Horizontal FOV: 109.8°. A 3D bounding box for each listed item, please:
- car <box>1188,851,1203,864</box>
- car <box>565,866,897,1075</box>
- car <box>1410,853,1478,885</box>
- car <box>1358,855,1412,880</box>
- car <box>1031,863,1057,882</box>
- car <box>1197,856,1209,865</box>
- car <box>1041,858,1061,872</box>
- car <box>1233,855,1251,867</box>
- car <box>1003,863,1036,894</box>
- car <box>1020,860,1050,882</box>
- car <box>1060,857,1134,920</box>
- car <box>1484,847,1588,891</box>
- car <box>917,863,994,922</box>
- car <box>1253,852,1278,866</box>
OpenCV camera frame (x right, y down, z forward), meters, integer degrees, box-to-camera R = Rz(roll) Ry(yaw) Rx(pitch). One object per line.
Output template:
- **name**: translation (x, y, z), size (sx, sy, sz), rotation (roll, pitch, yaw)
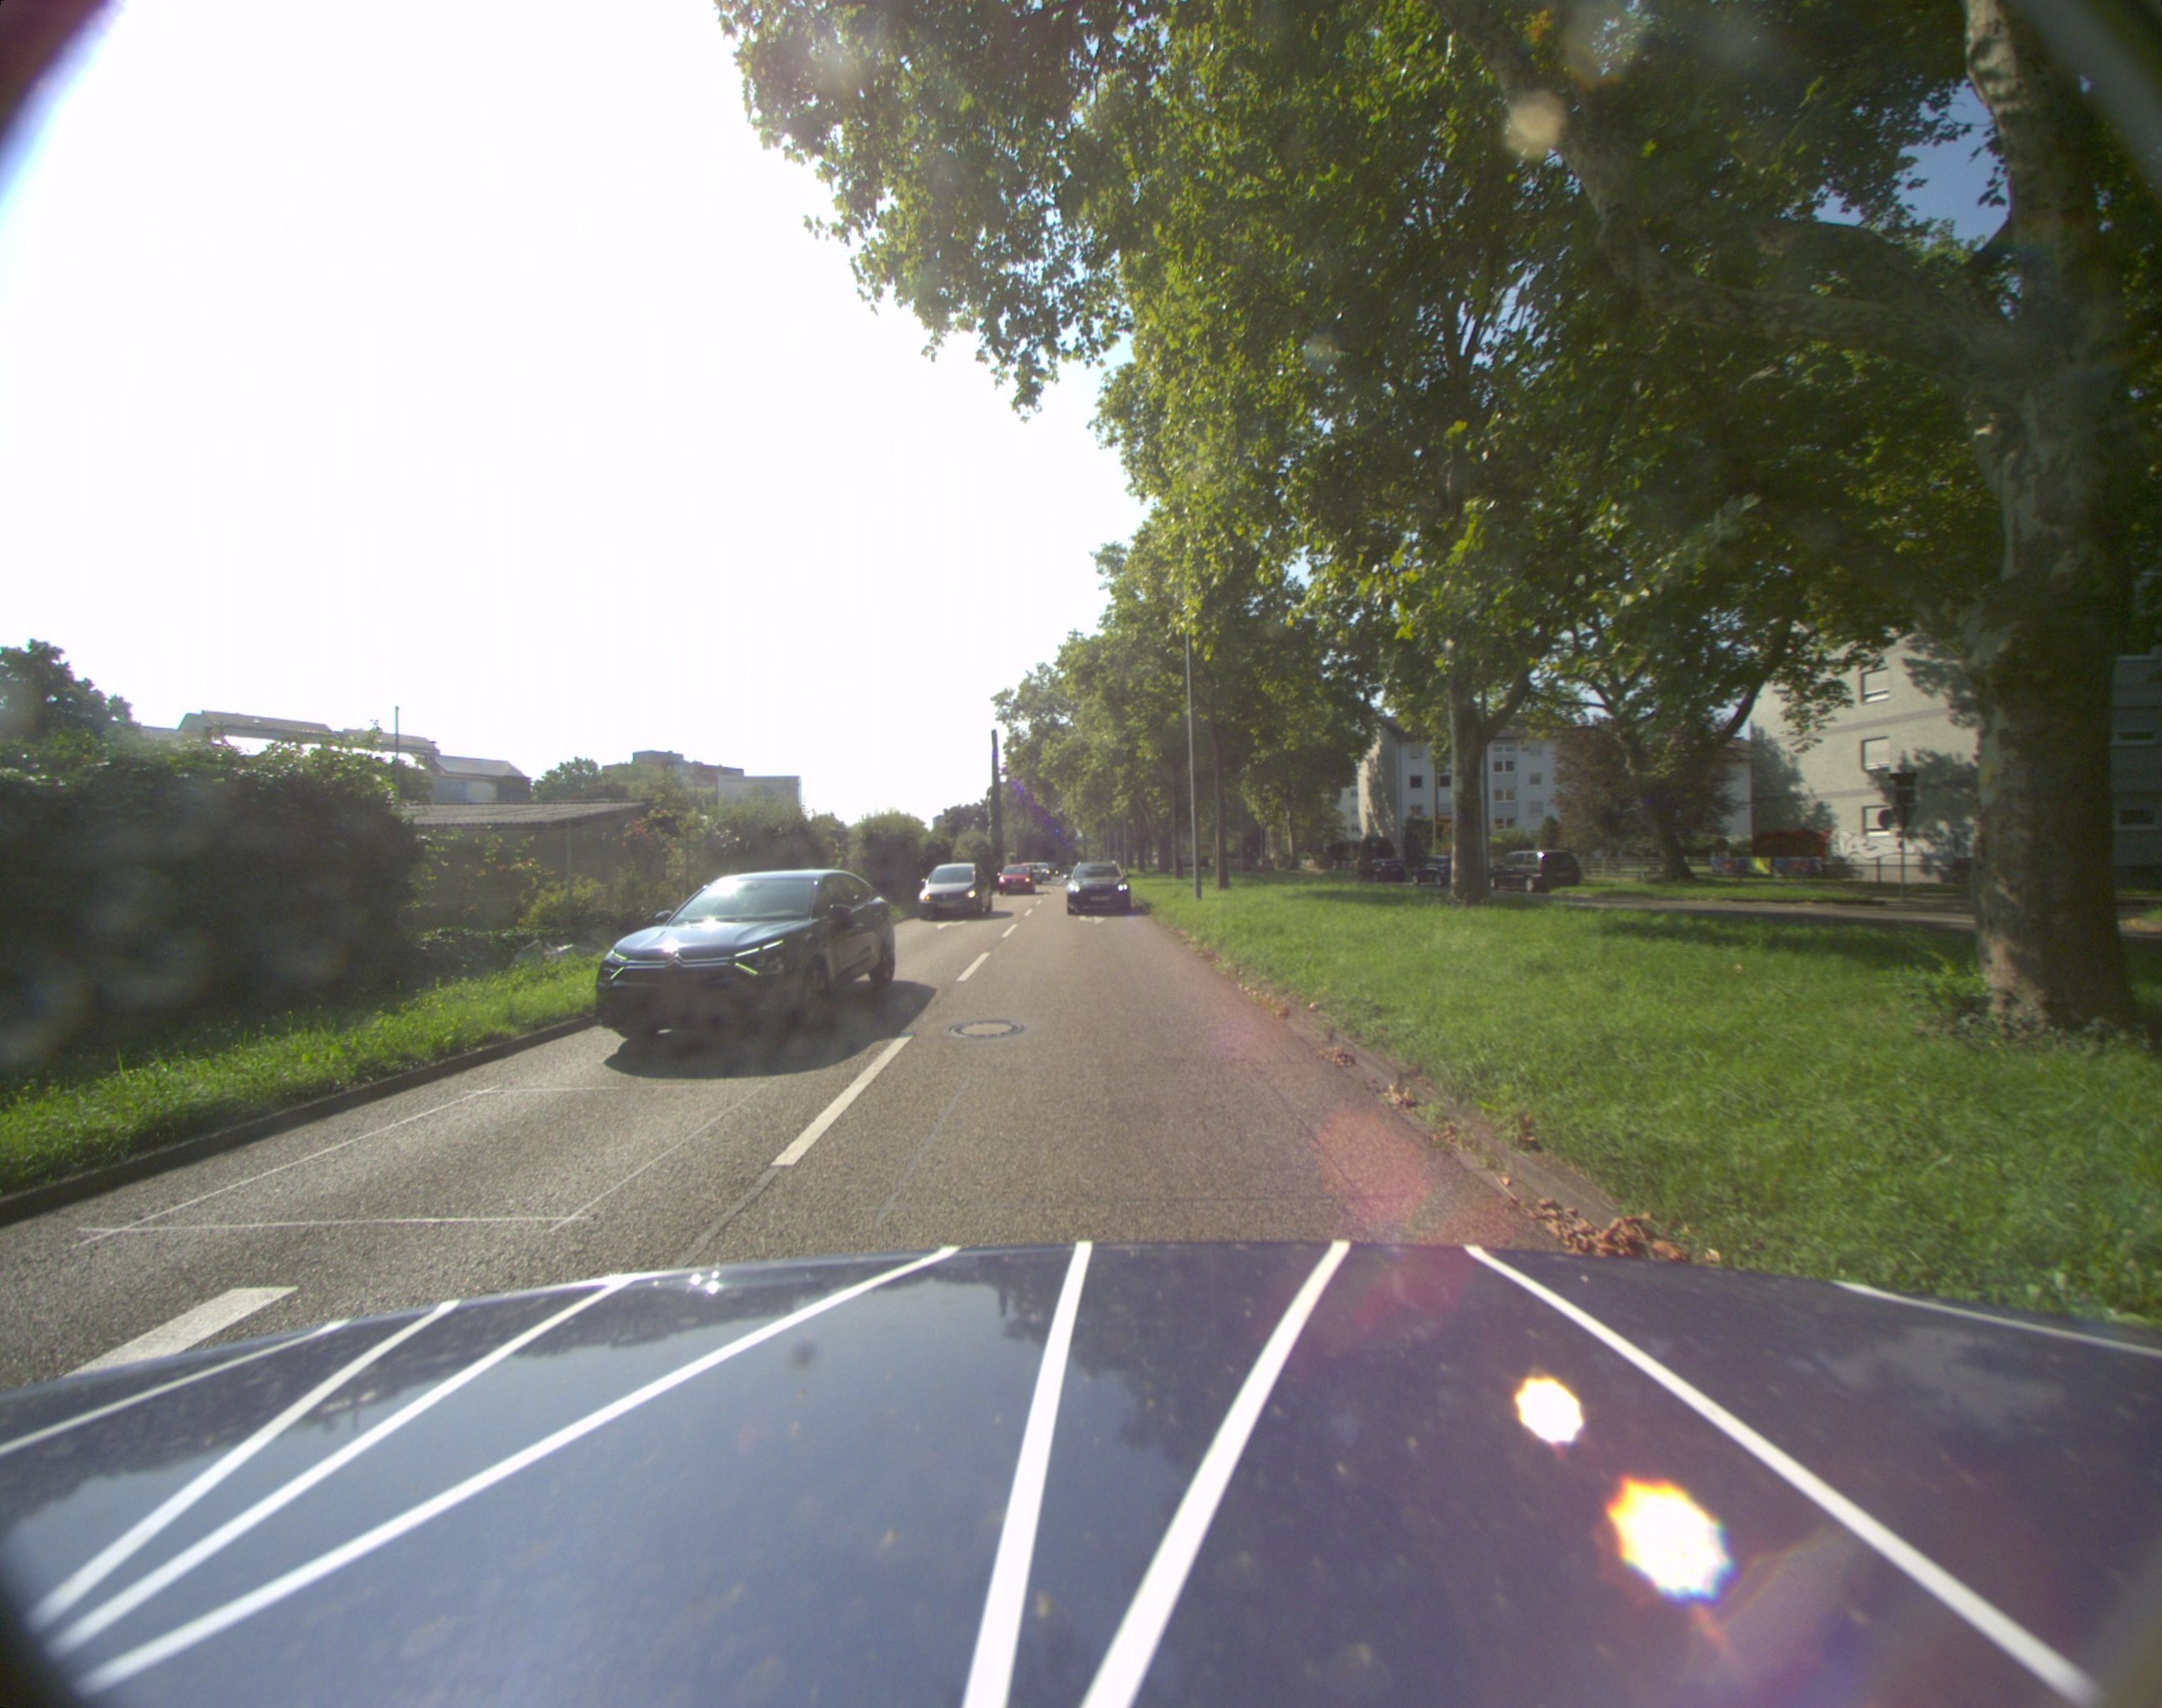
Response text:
- **car**: translation (23.436, 0.742, 155.665), size (2.213, 2.415, 6.267), rotation (-4, 0, 3)
- **car**: translation (-3.307, 0.960, 8.193), size (1.649, 1.579, 4.254), rotation (0, 0, -1)
- **car**: translation (19.071, 0.753, 40.092), size (1.703, 1.558, 4.000), rotation (-1, 0, 1)
- **car**: translation (19.482, 0.838, 48.904), size (1.703, 1.499, 4.541), rotation (-1, -1, 1)
- **car**: translation (-3.130, 1.531, 64.986), size (1.648, 1.467, 3.900), rotation (-2, 0, 6)
- **car**: translation (20.737, 1.146, 129.280), size (1.526, 1.524, 3.864), rotation (-1, 0, 1)
- **car**: translation (-3.281, 1.181, 83.627), size (1.648, 1.378, 3.900), rotation (-2, 0, 6)
- **car**: translation (19.761, 0.821, 93.437), size (1.542, 1.443, 4.065), rotation (-2, 0, 2)
- **car**: translation (-3.135, 1.198, 38.149), size (1.580, 1.390, 3.470), rotation (0, 0, -6)
- **car**: translation (-3.331, 1.240, 55.960), size (1.649, 1.467, 3.900), rotation (-2, 0, 4)
- **car**: translation (0.410, 0.938, 21.752), size (1.863, 1.571, 3.612), rotation (-3, -1, -1)
- **car**: translation (19.375, 0.607, 32.628), size (1.703, 1.722, 4.659), rotation (-2, 0, 1)
- **car**: translation (-3.654, 1.089, 22.731), size (1.649, 1.547, 3.898), rotation (-1, 0, -1)
- **car**: translation (19.837, 0.579, 81.690), size (1.806, 1.421, 4.065), rotation (-2, 0, 2)
